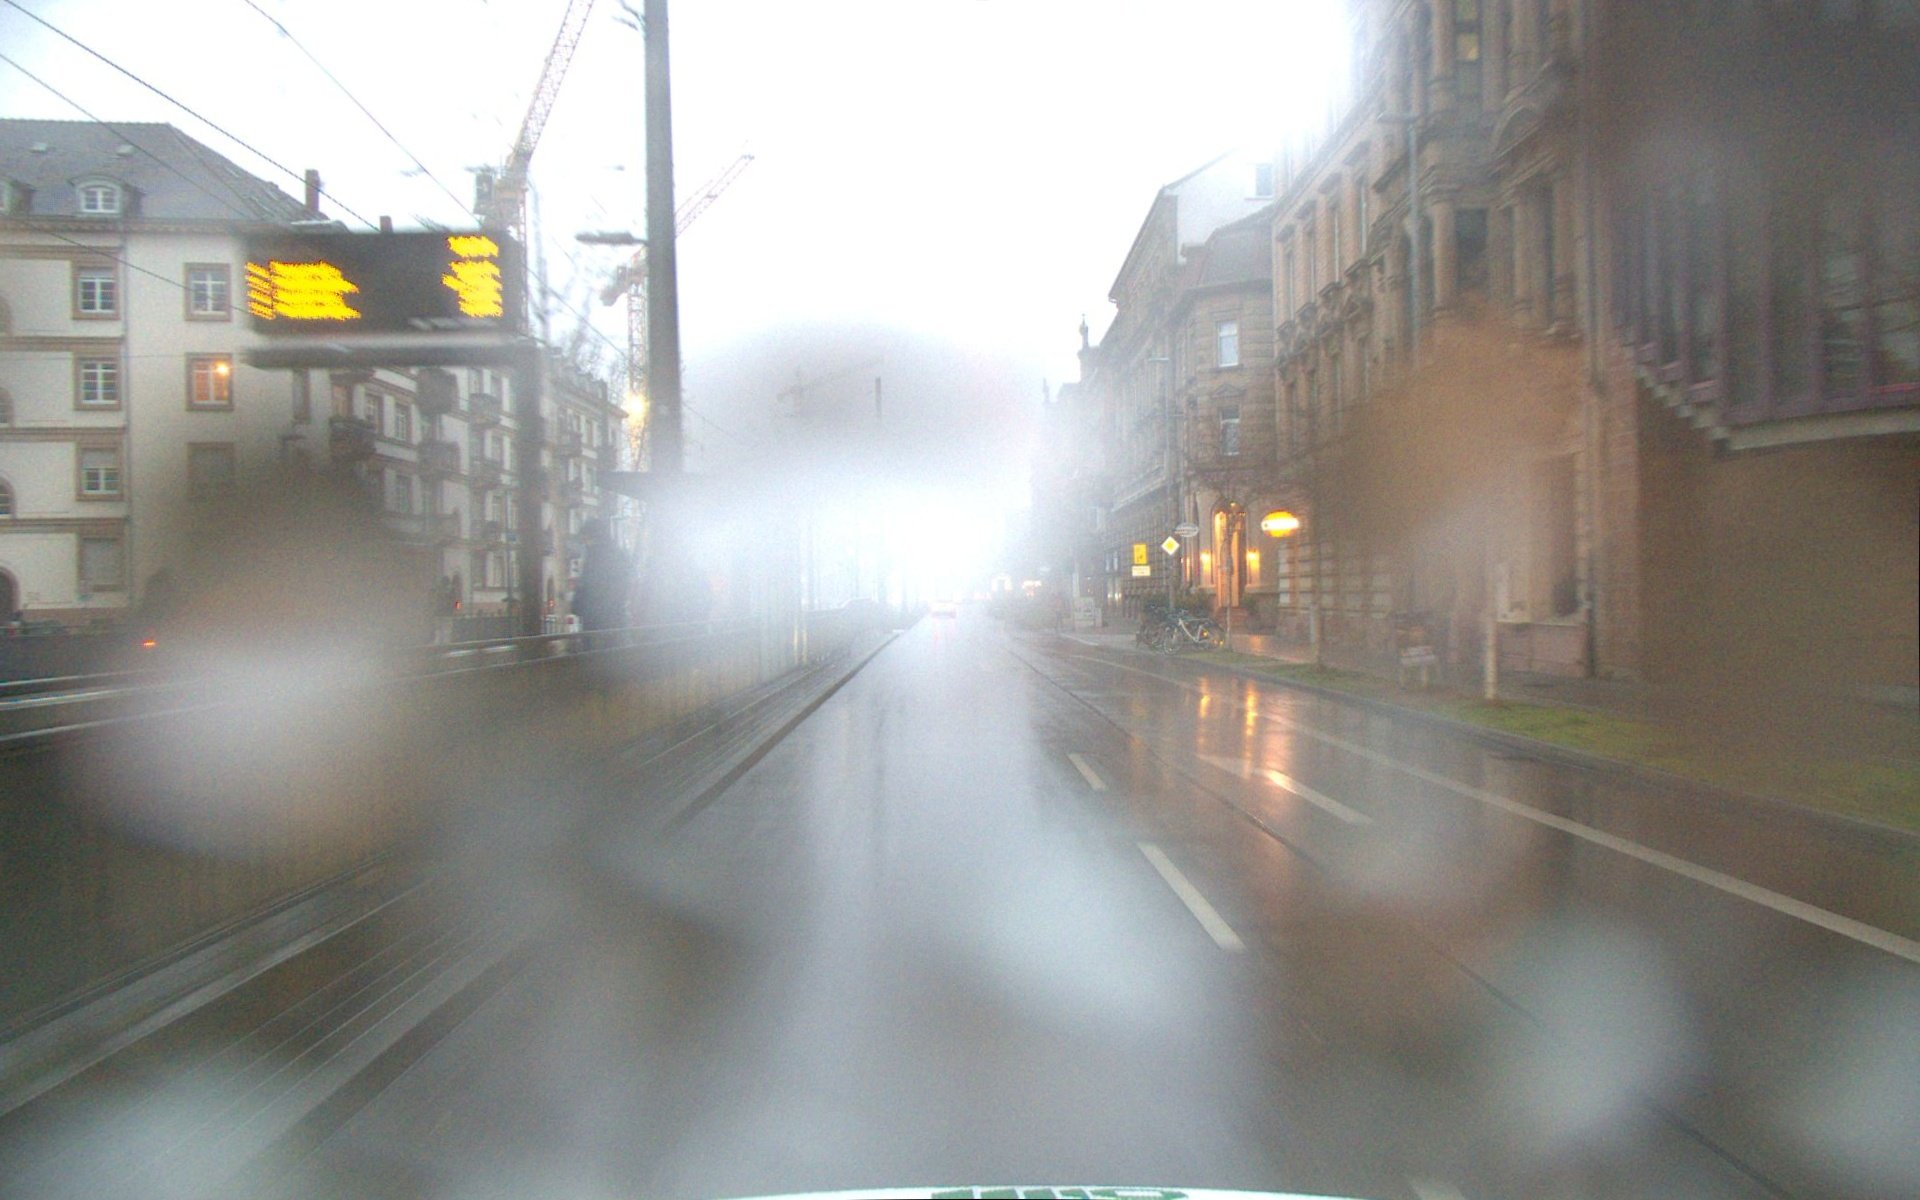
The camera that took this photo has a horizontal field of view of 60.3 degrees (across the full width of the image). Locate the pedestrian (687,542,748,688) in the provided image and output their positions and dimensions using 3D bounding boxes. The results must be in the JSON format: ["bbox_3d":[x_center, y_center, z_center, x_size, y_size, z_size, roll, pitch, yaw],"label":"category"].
[{"bbox_3d":[-3.631,0.217,24.834,0.793,2.147,0.804,-1,0,-3],"label":"pedestrian"}]

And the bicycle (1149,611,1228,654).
[{"bbox_3d":[6.457,0.925,46.792,2.101,1.073,0.425,-4,1,-2],"label":"bicycle"}]

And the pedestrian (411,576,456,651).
[{"bbox_3d":[-13.044,0.330,40.997,0.791,1.811,0.810,1,0,-42],"label":"pedestrian"}]

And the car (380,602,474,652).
[{"bbox_3d":[-15.281,0.755,47.587,1.648,1.378,3.545,0,0,-2],"label":"car"}]

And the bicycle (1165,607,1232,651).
[{"bbox_3d":[6.296,0.766,43.702,1.695,1.073,0.371,-2,0,-2],"label":"bicycle"}]

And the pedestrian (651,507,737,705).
[{"bbox_3d":[-2.948,0.066,18.424,0.793,2.147,0.804,-1,0,0],"label":"pedestrian"}]

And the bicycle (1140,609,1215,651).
[{"bbox_3d":[6.389,0.887,48.663,2.101,1.073,0.425,-4,1,-2],"label":"bicycle"}]

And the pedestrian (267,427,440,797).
[{"bbox_3d":[-2.997,0.053,8.225,0.764,1.733,0.769,0,0,-19],"label":"pedestrian"}]

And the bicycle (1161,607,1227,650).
[{"bbox_3d":[6.342,0.773,44.887,1.695,1.073,0.371,-2,0,-2],"label":"bicycle"}]

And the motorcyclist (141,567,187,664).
[{"bbox_3d":[-12.646,0.243,26.286,0.489,1.522,0.556,0,0,-6],"label":"motorcyclist"}]

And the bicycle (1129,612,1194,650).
[{"bbox_3d":[6.235,0.949,51.130,2.063,1.070,0.474,-3,0,-27],"label":"bicycle"}]

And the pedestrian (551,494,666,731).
[{"bbox_3d":[-3.028,0.102,14.306,0.793,1.981,0.804,-1,0,0],"label":"pedestrian"}]

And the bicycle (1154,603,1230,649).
[{"bbox_3d":[6.421,0.718,45.738,1.968,1.114,0.425,-4,0,-2],"label":"bicycle"}]

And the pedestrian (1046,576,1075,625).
[{"bbox_3d":[4.232,0.017,69.795,0.899,2.049,0.853,-1,0,34],"label":"pedestrian"}]

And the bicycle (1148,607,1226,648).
[{"bbox_3d":[6.485,0.791,47.282,2.101,1.073,0.484,-3,0,-2],"label":"bicycle"}]

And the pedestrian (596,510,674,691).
[{"bbox_3d":[-3.962,0.004,20.214,0.793,2.147,0.804,-1,0,-3],"label":"pedestrian"}]

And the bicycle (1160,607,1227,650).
[{"bbox_3d":[6.231,0.768,44.202,1.695,1.073,0.371,-2,0,-2],"label":"bicycle"}]

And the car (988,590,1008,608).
[{"bbox_3d":[3.516,-0.082,151.737,1.762,1.632,3.771,-2,0,2],"label":"car"}]

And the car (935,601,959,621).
[{"bbox_3d":[-0.997,0.849,127.701,1.747,1.492,3.149,-1,0,1],"label":"car"}]

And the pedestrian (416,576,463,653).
[{"bbox_3d":[-12.317,0.337,39.128,0.791,1.811,0.810,1,0,-42],"label":"pedestrian"}]

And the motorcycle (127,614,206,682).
[{"bbox_3d":[-12.669,0.744,26.448,0.502,1.026,1.805,0,0,-4],"label":"motorcycle"}]
